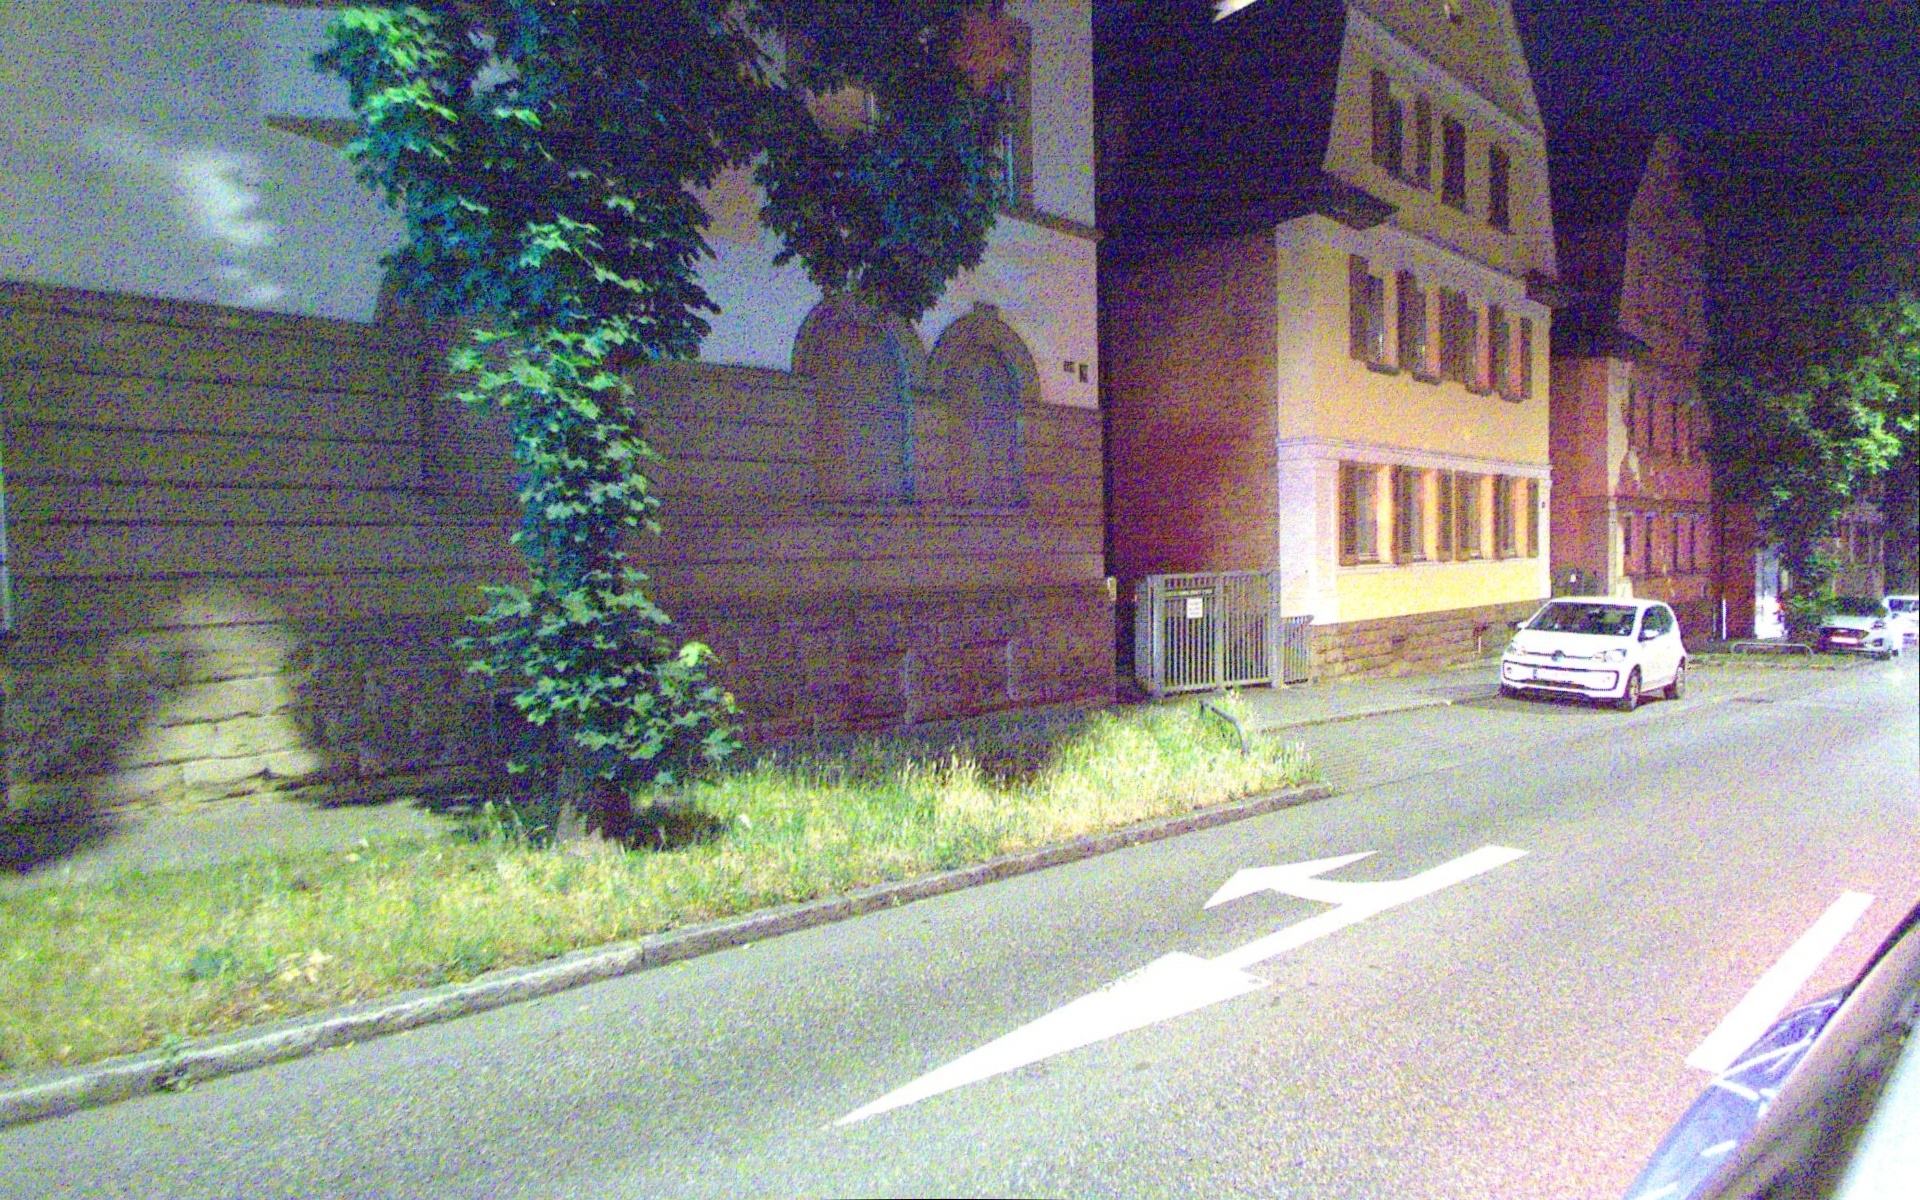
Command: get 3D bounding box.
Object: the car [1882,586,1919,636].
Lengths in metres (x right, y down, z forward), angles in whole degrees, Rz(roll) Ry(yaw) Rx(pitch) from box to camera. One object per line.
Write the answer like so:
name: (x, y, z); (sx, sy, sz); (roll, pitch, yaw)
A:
car: (33.542, 0.370, 35.136); (4.107, 1.673, 1.850); (0, 0, -42)

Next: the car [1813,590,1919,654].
car: (23.618, 0.509, 26.279); (3.824, 1.516, 1.740); (0, 2, -43)

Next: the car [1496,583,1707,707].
car: (9.249, 0.556, 14.508); (3.425, 1.527, 1.610); (0, 2, -41)
